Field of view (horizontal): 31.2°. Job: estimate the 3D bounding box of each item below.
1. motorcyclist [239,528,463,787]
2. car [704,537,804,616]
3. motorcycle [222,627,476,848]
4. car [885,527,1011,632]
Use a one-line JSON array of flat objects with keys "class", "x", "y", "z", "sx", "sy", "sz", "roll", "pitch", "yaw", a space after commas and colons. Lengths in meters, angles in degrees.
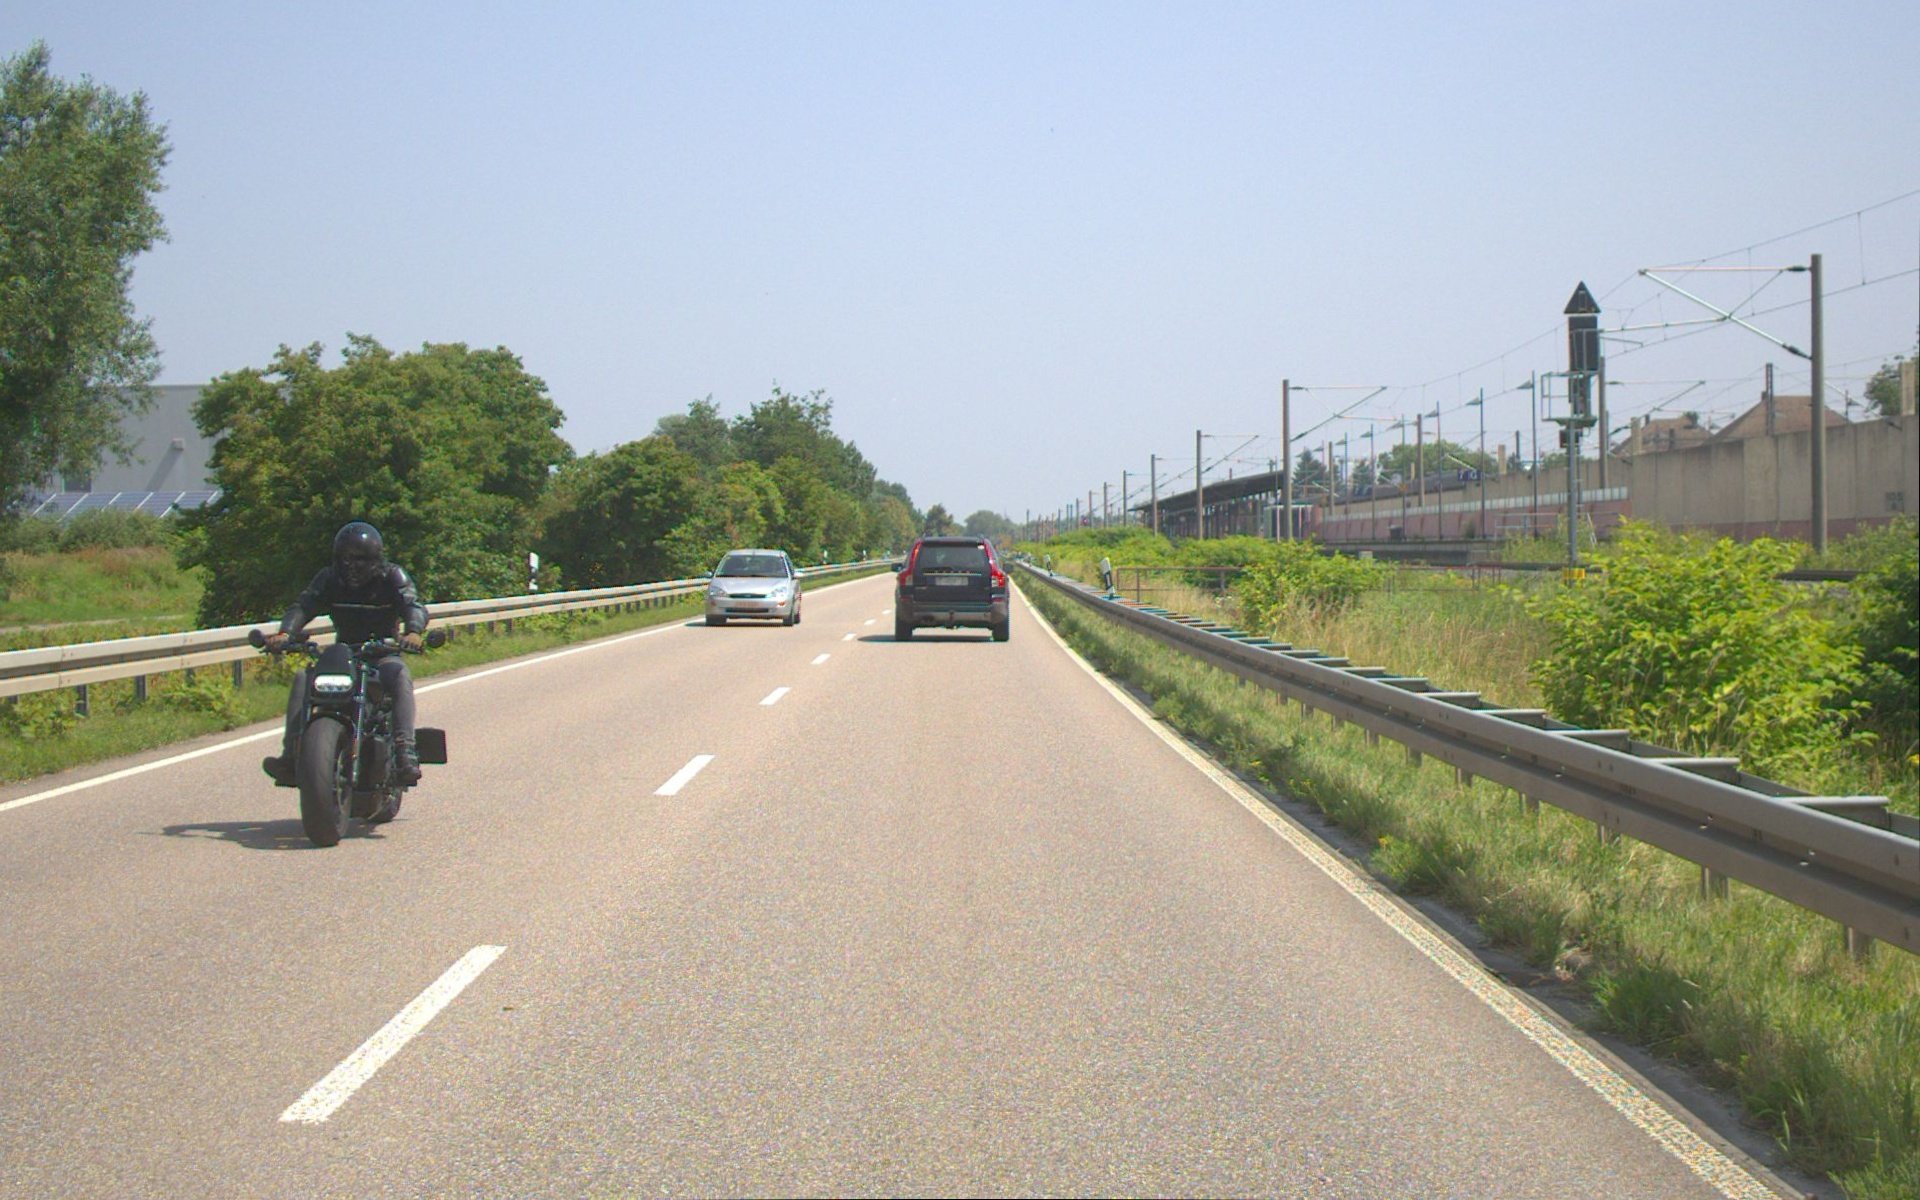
[{"class": "motorcyclist", "x": -3.175, "y": 0.287, "z": 18.011, "sx": 0.993, "sy": 1.305, "sz": 0.935, "roll": 1, "pitch": 1, "yaw": 0}, {"class": "car", "x": -4.036, "y": -0.486, "z": 67.882, "sx": 1.698, "sy": 1.469, "sz": 4.686, "roll": 1, "pitch": 1, "yaw": 0}, {"class": "motorcycle", "x": -3.175, "y": 0.686, "z": 18.097, "sx": 0.928, "sy": 1.024, "sz": 2.268, "roll": 1, "pitch": 1, "yaw": 0}, {"class": "car", "x": -0.242, "y": -0.359, "z": 57.551, "sx": 1.993, "sy": 1.694, "sz": 4.000, "roll": 0, "pitch": 1, "yaw": -2}]
